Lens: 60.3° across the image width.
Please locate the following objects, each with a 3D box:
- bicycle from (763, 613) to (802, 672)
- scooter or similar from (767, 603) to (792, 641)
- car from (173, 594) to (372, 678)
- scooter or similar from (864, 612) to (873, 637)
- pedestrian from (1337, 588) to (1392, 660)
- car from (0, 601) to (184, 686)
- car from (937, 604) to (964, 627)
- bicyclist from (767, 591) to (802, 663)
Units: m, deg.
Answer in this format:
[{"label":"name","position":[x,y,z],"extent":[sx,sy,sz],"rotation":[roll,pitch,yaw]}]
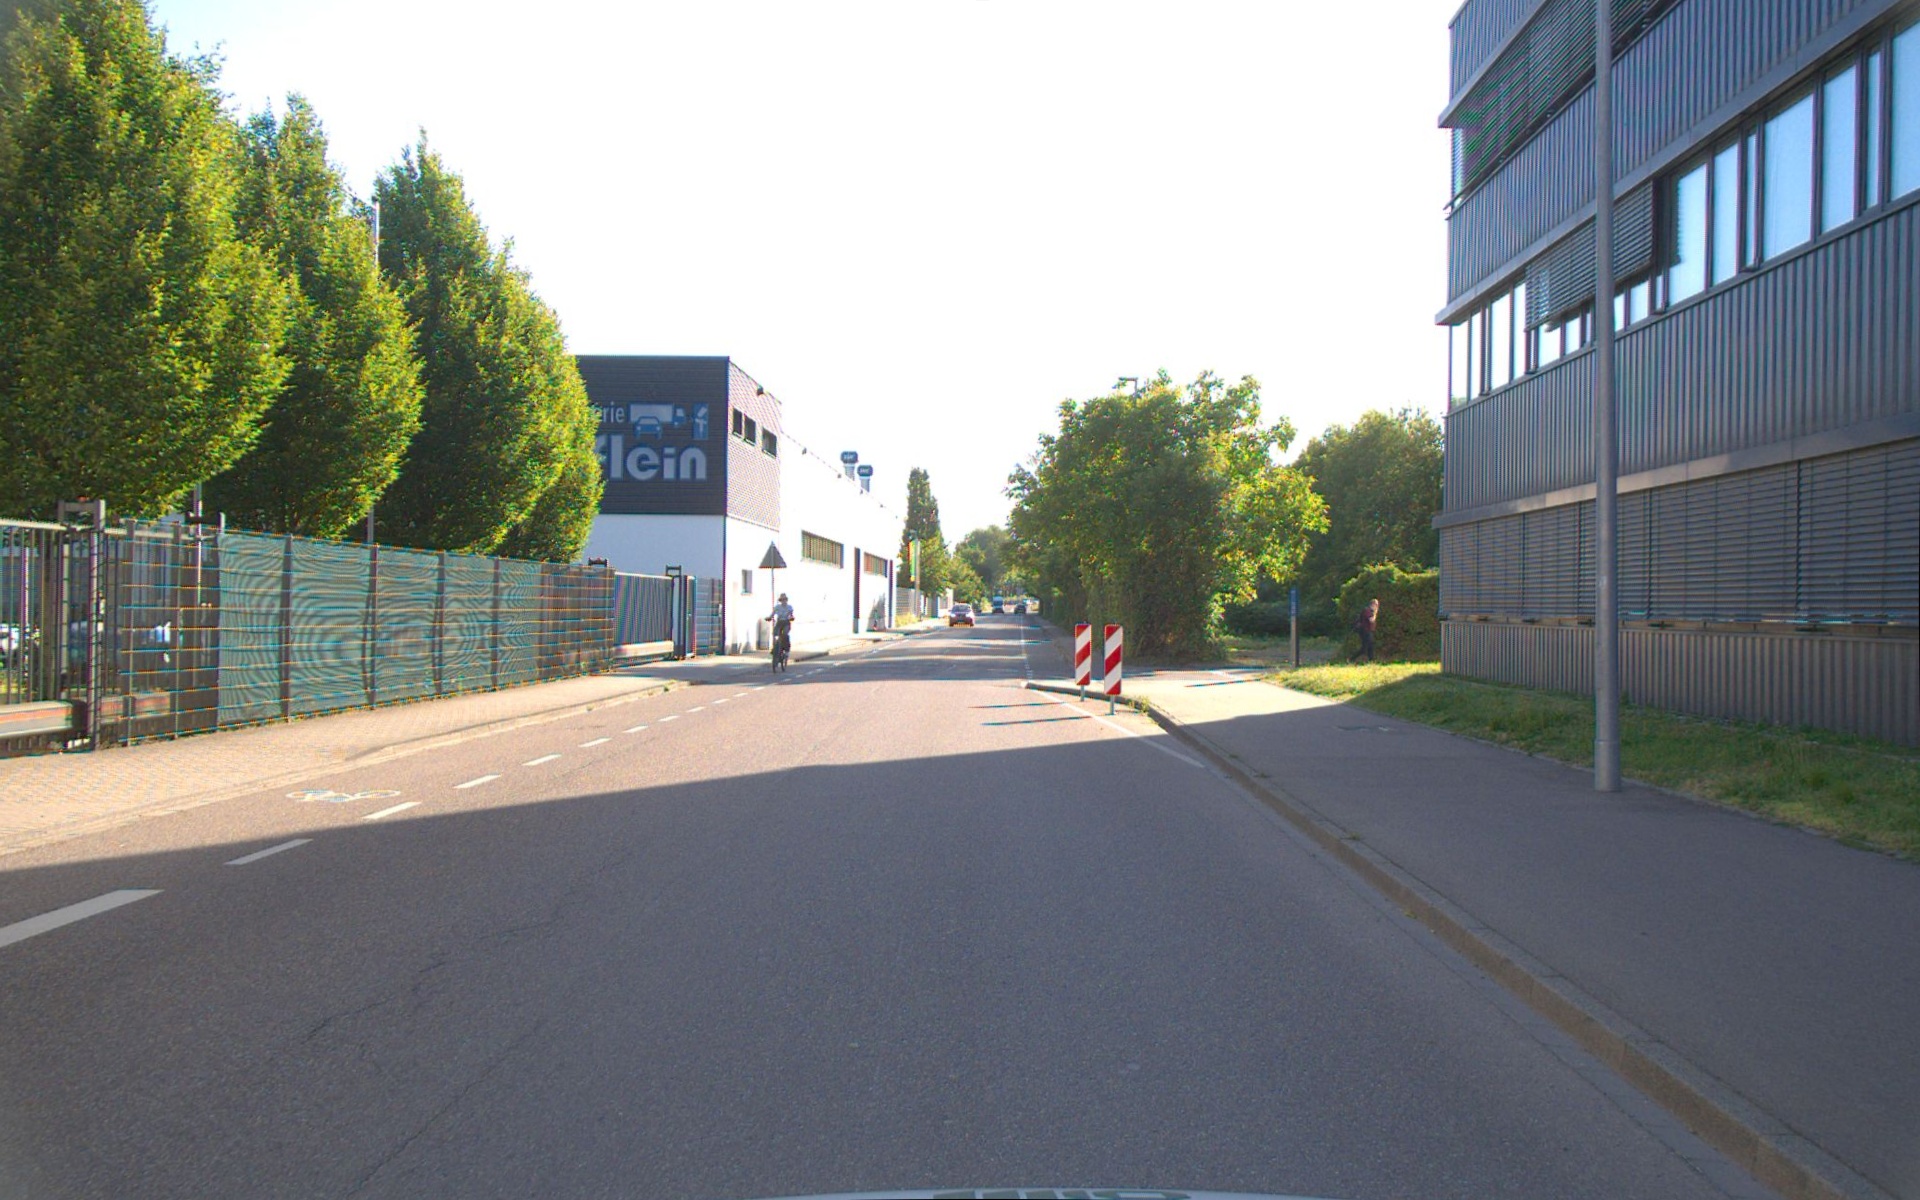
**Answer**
[{"label":"bicycle","position":[-4.166,0.981,38.878],"extent":[0.653,1.311,2.172],"rotation":[0,0,0]},{"label":"scooter or similar","position":[-5.982,0.731,54.928],"extent":[0.496,1.224,1.754],"rotation":[3,0,2]},{"label":"car","position":[-12.941,0.649,31.415],"extent":[1.952,1.477,4.001],"rotation":[0,0,3]},{"label":"scooter or similar","position":[-4.912,1.304,88.660],"extent":[0.407,1.289,1.060],"rotation":[1,0,2]},{"label":"pedestrian","position":[10.583,0.626,43.276],"extent":[1.129,1.823,0.896],"rotation":[-2,0,-2]},{"label":"car","position":[-16.588,0.776,31.082],"extent":[1.952,1.477,4.001],"rotation":[0,0,3]},{"label":"car","position":[-0.675,1.107,117.104],"extent":[1.780,1.515,4.000],"rotation":[-3,0,0]},{"label":"bicyclist","position":[-4.117,0.625,38.817],"extent":[0.731,1.657,0.833],"rotation":[0,0,0]}]
